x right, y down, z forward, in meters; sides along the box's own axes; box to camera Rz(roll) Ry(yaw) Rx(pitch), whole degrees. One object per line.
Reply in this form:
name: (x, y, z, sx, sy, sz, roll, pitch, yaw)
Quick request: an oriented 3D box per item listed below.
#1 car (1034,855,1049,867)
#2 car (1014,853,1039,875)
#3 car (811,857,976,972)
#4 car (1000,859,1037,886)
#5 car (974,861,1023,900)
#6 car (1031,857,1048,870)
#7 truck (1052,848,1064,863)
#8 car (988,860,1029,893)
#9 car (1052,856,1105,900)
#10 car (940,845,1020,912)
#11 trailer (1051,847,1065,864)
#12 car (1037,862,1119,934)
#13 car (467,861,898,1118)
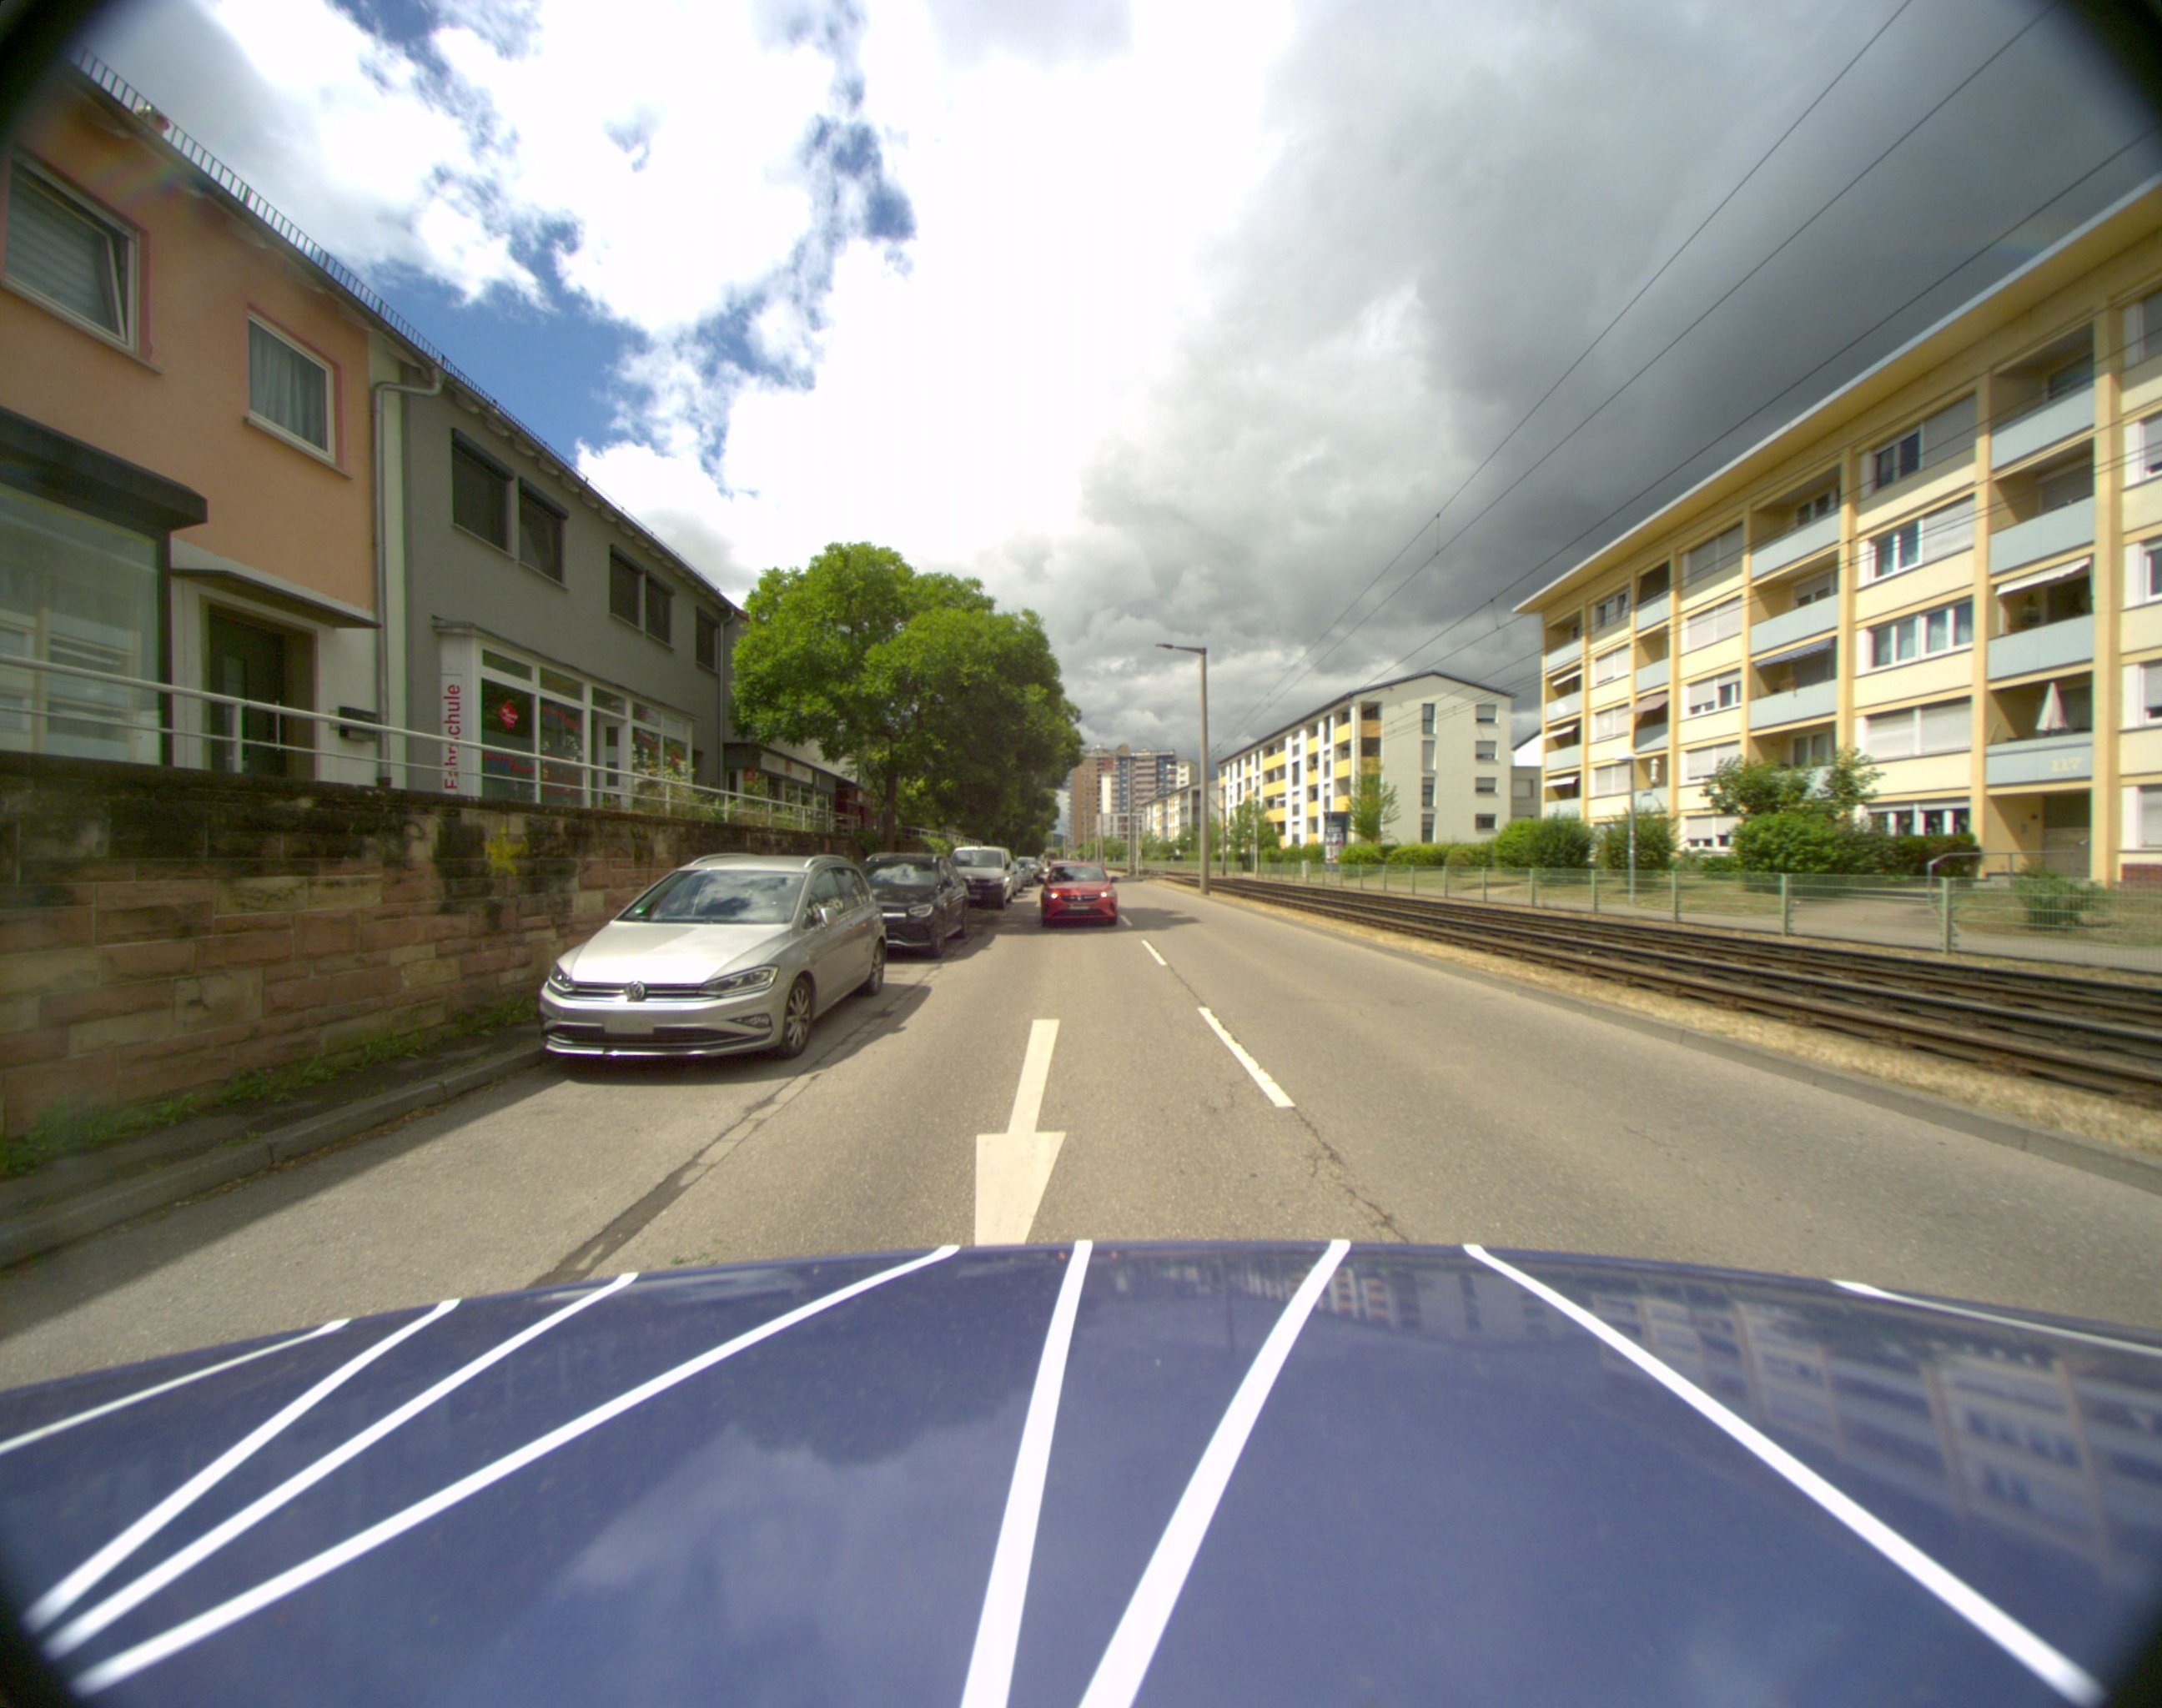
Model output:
car: (-5.139, 0.890, 99.113, 1.785, 1.420, 4.147, 0, 0, 0)
car: (-4.137, 0.750, 58.511, 1.819, 1.643, 4.146, 0, 0, -3)
car: (-3.004, 0.881, 13.159, 1.794, 1.608, 4.447, 1, 0, -1)
car: (-3.489, 1.023, 43.145, 1.785, 1.420, 4.147, -1, 0, 0)
car: (-3.281, 1.027, 30.843, 1.578, 1.420, 3.734, -1, 0, 0)
car: (-4.999, 1.130, 91.635, 1.785, 1.420, 4.147, -1, 0, 0)
truck: (-5.482, 0.297, 181.148, 2.852, 3.428, 4.414, -2, 0, -2)
car: (-3.386, 1.019, 36.115, 1.785, 1.420, 4.144, 0, 0, -3)
car: (-0.125, 0.912, 30.506, 1.927, 1.543, 3.999, -2, 0, -1)
car: (-3.191, 0.730, 24.999, 1.978, 1.958, 5.012, -1, 0, 0)
trailer: (-5.268, 0.315, 172.888, 2.875, 3.428, 14.613, -2, 0, -1)
car: (-0.048, 0.956, 18.199, 1.723, 1.434, 4.000, -1, 0, 0)
car: (-3.086, 0.898, 7.034, 1.794, 1.608, 4.248, 1, 0, -1)
